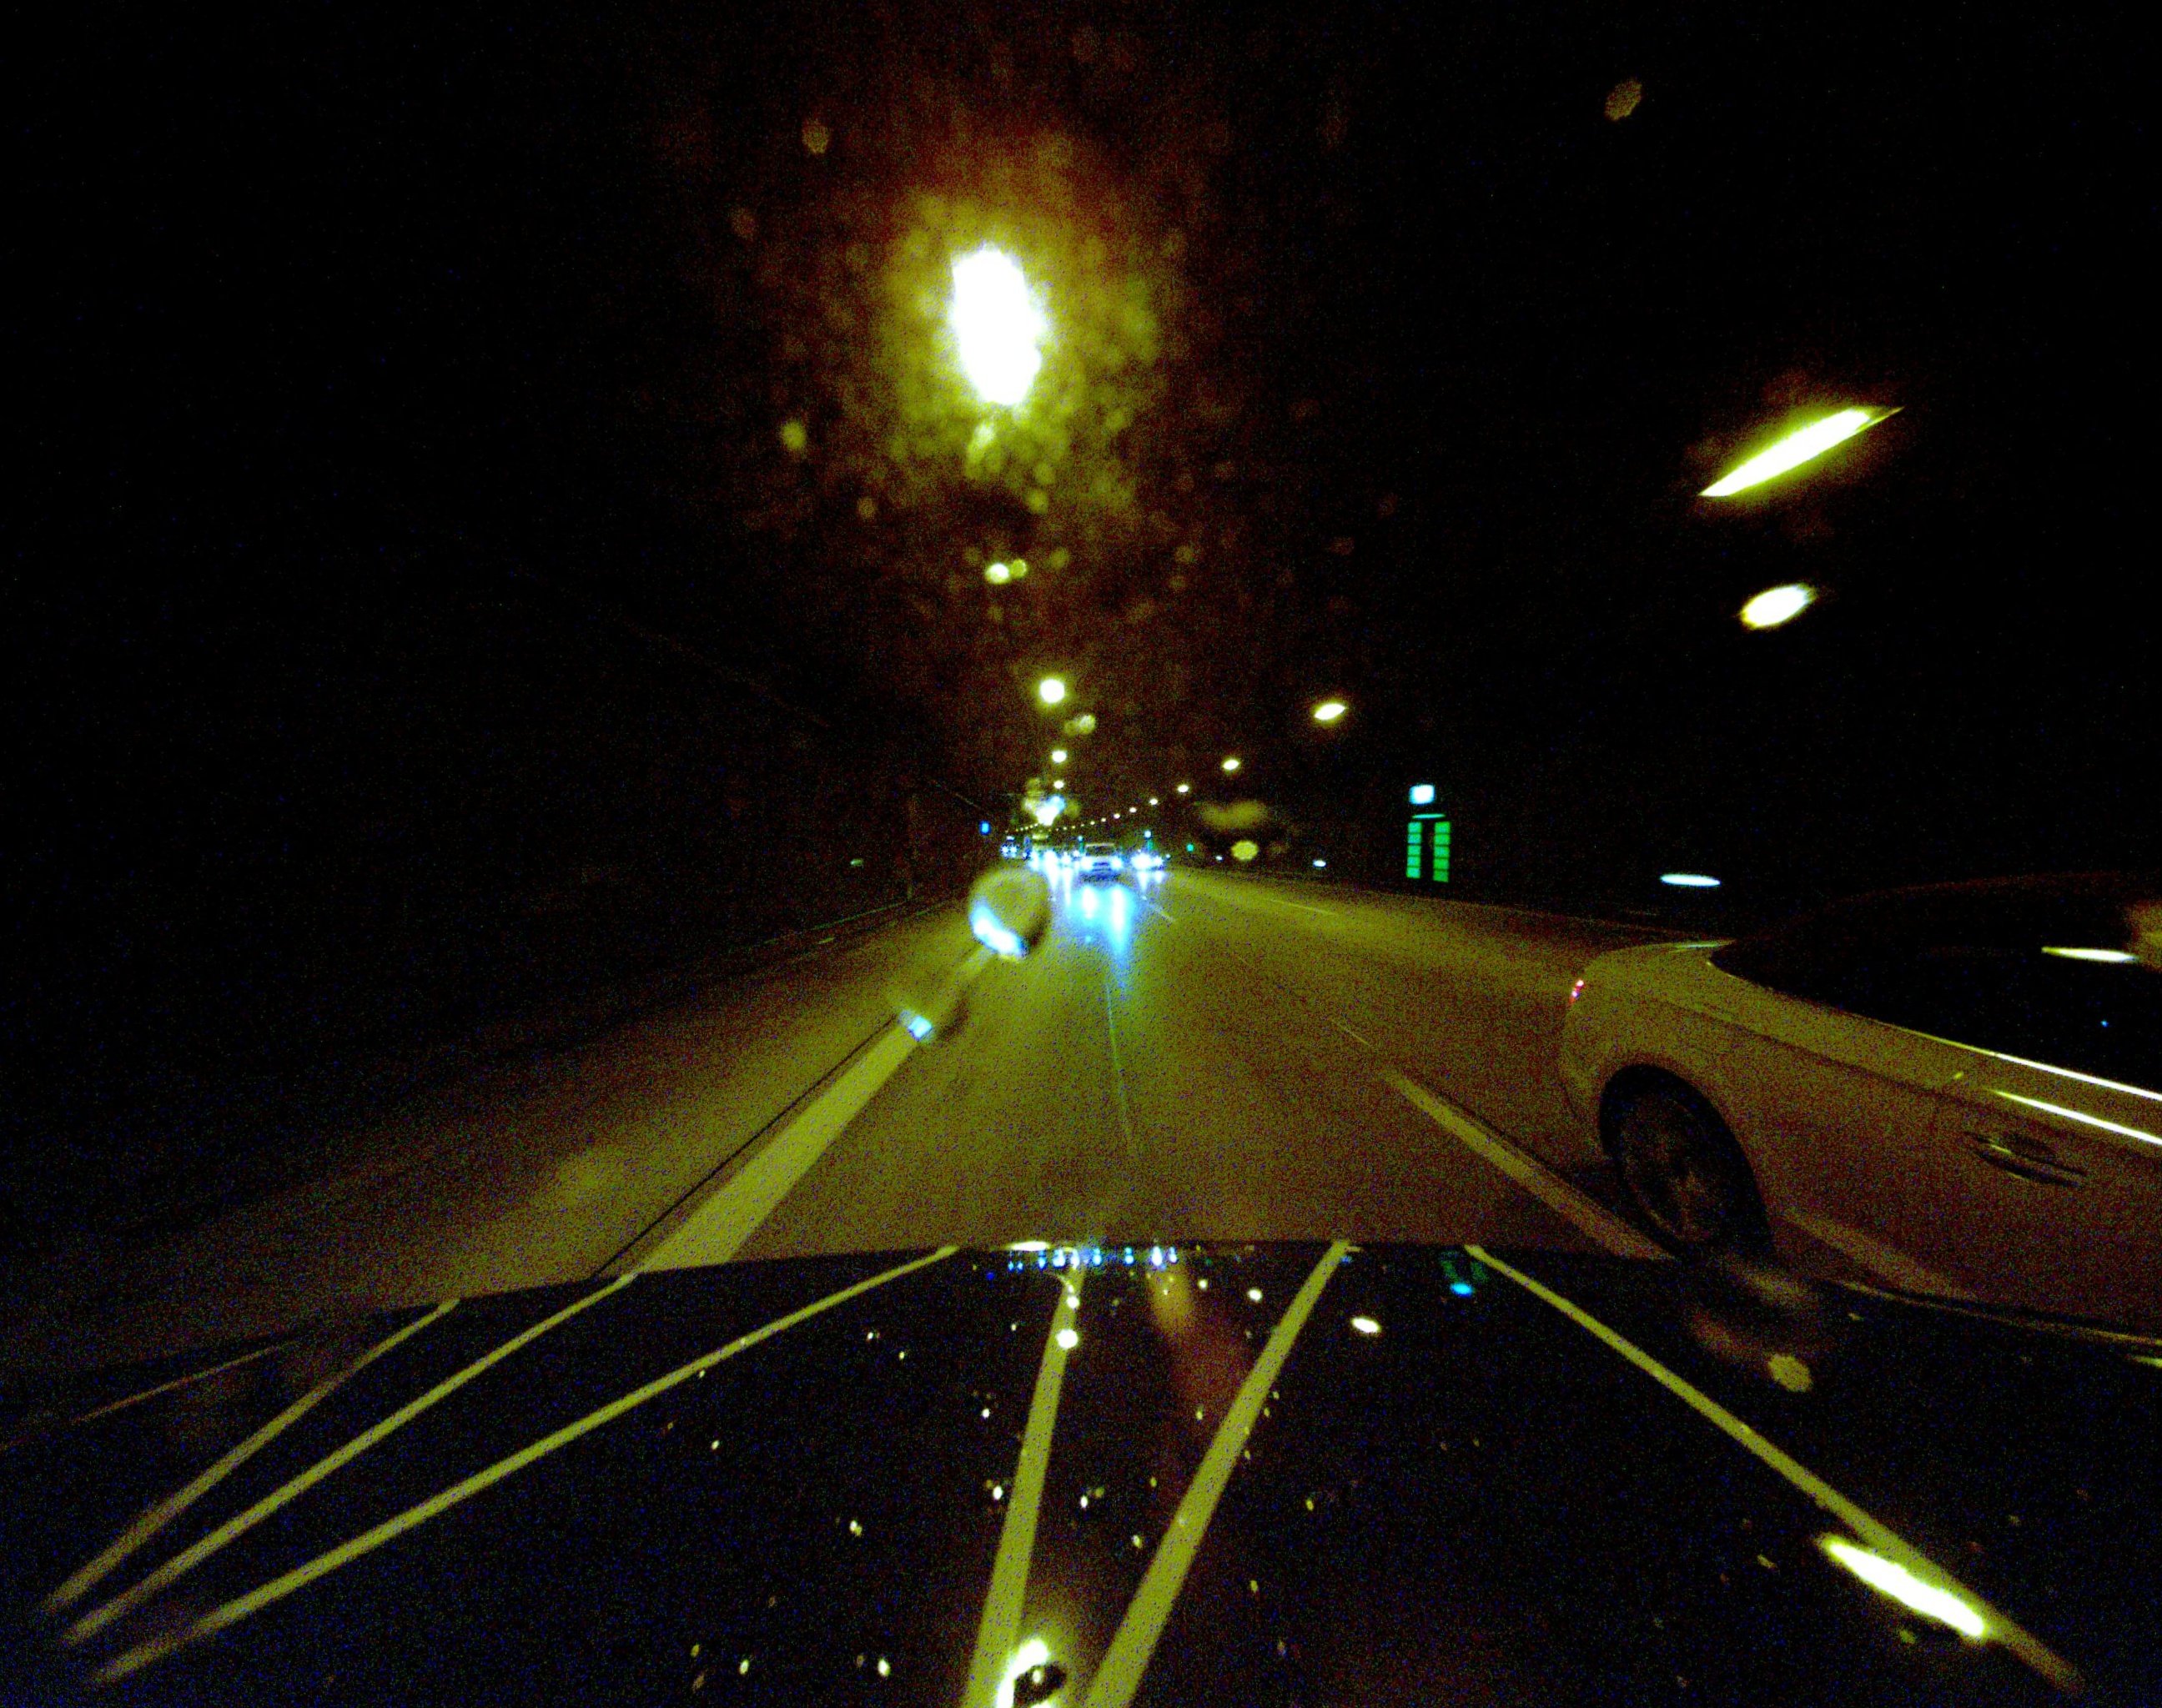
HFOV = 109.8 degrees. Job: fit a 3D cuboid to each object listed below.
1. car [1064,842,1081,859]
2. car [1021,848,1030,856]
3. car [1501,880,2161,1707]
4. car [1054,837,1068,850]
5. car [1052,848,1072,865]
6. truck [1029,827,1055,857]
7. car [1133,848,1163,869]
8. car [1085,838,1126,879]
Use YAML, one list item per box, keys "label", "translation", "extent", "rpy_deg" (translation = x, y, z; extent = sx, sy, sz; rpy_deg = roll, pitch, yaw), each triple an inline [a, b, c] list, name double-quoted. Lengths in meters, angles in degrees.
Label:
- label: "car"
  translation: [-1.158, -0.488, 102.848]
  extent: [1.999, 2.003, 3.995]
  rpy_deg: [-2, 4, -5]
- label: "car"
  translation: [-12.145, -0.391, 166.318]
  extent: [1.793, 1.707, 3.730]
  rpy_deg: [-2, 1, -6]
- label: "car"
  translation: [2.858, 0.901, 1.160]
  extent: [1.706, 1.411, 5.059]
  rpy_deg: [-1, 1, 1]
- label: "car"
  translation: [-3.219, -1.727, 122.724]
  extent: [1.999, 1.810, 3.995]
  rpy_deg: [-2, 4, -5]
- label: "car"
  translation: [-1.875, 0.213, 73.829]
  extent: [1.759, 1.567, 3.998]
  rpy_deg: [-2, 1, -4]
- label: "truck"
  translation: [-5.801, -1.858, 111.646]
  extent: [3.144, 4.137, 7.379]
  rpy_deg: [-2, 3, -7]
- label: "car"
  translation: [4.896, 0.308, 55.835]
  extent: [1.739, 1.447, 3.999]
  rpy_deg: [-2, 0, -2]
- label: "car"
  translation: [1.239, 0.223, 40.371]
  extent: [1.998, 2.002, 4.360]
  rpy_deg: [-2, 1, 0]
